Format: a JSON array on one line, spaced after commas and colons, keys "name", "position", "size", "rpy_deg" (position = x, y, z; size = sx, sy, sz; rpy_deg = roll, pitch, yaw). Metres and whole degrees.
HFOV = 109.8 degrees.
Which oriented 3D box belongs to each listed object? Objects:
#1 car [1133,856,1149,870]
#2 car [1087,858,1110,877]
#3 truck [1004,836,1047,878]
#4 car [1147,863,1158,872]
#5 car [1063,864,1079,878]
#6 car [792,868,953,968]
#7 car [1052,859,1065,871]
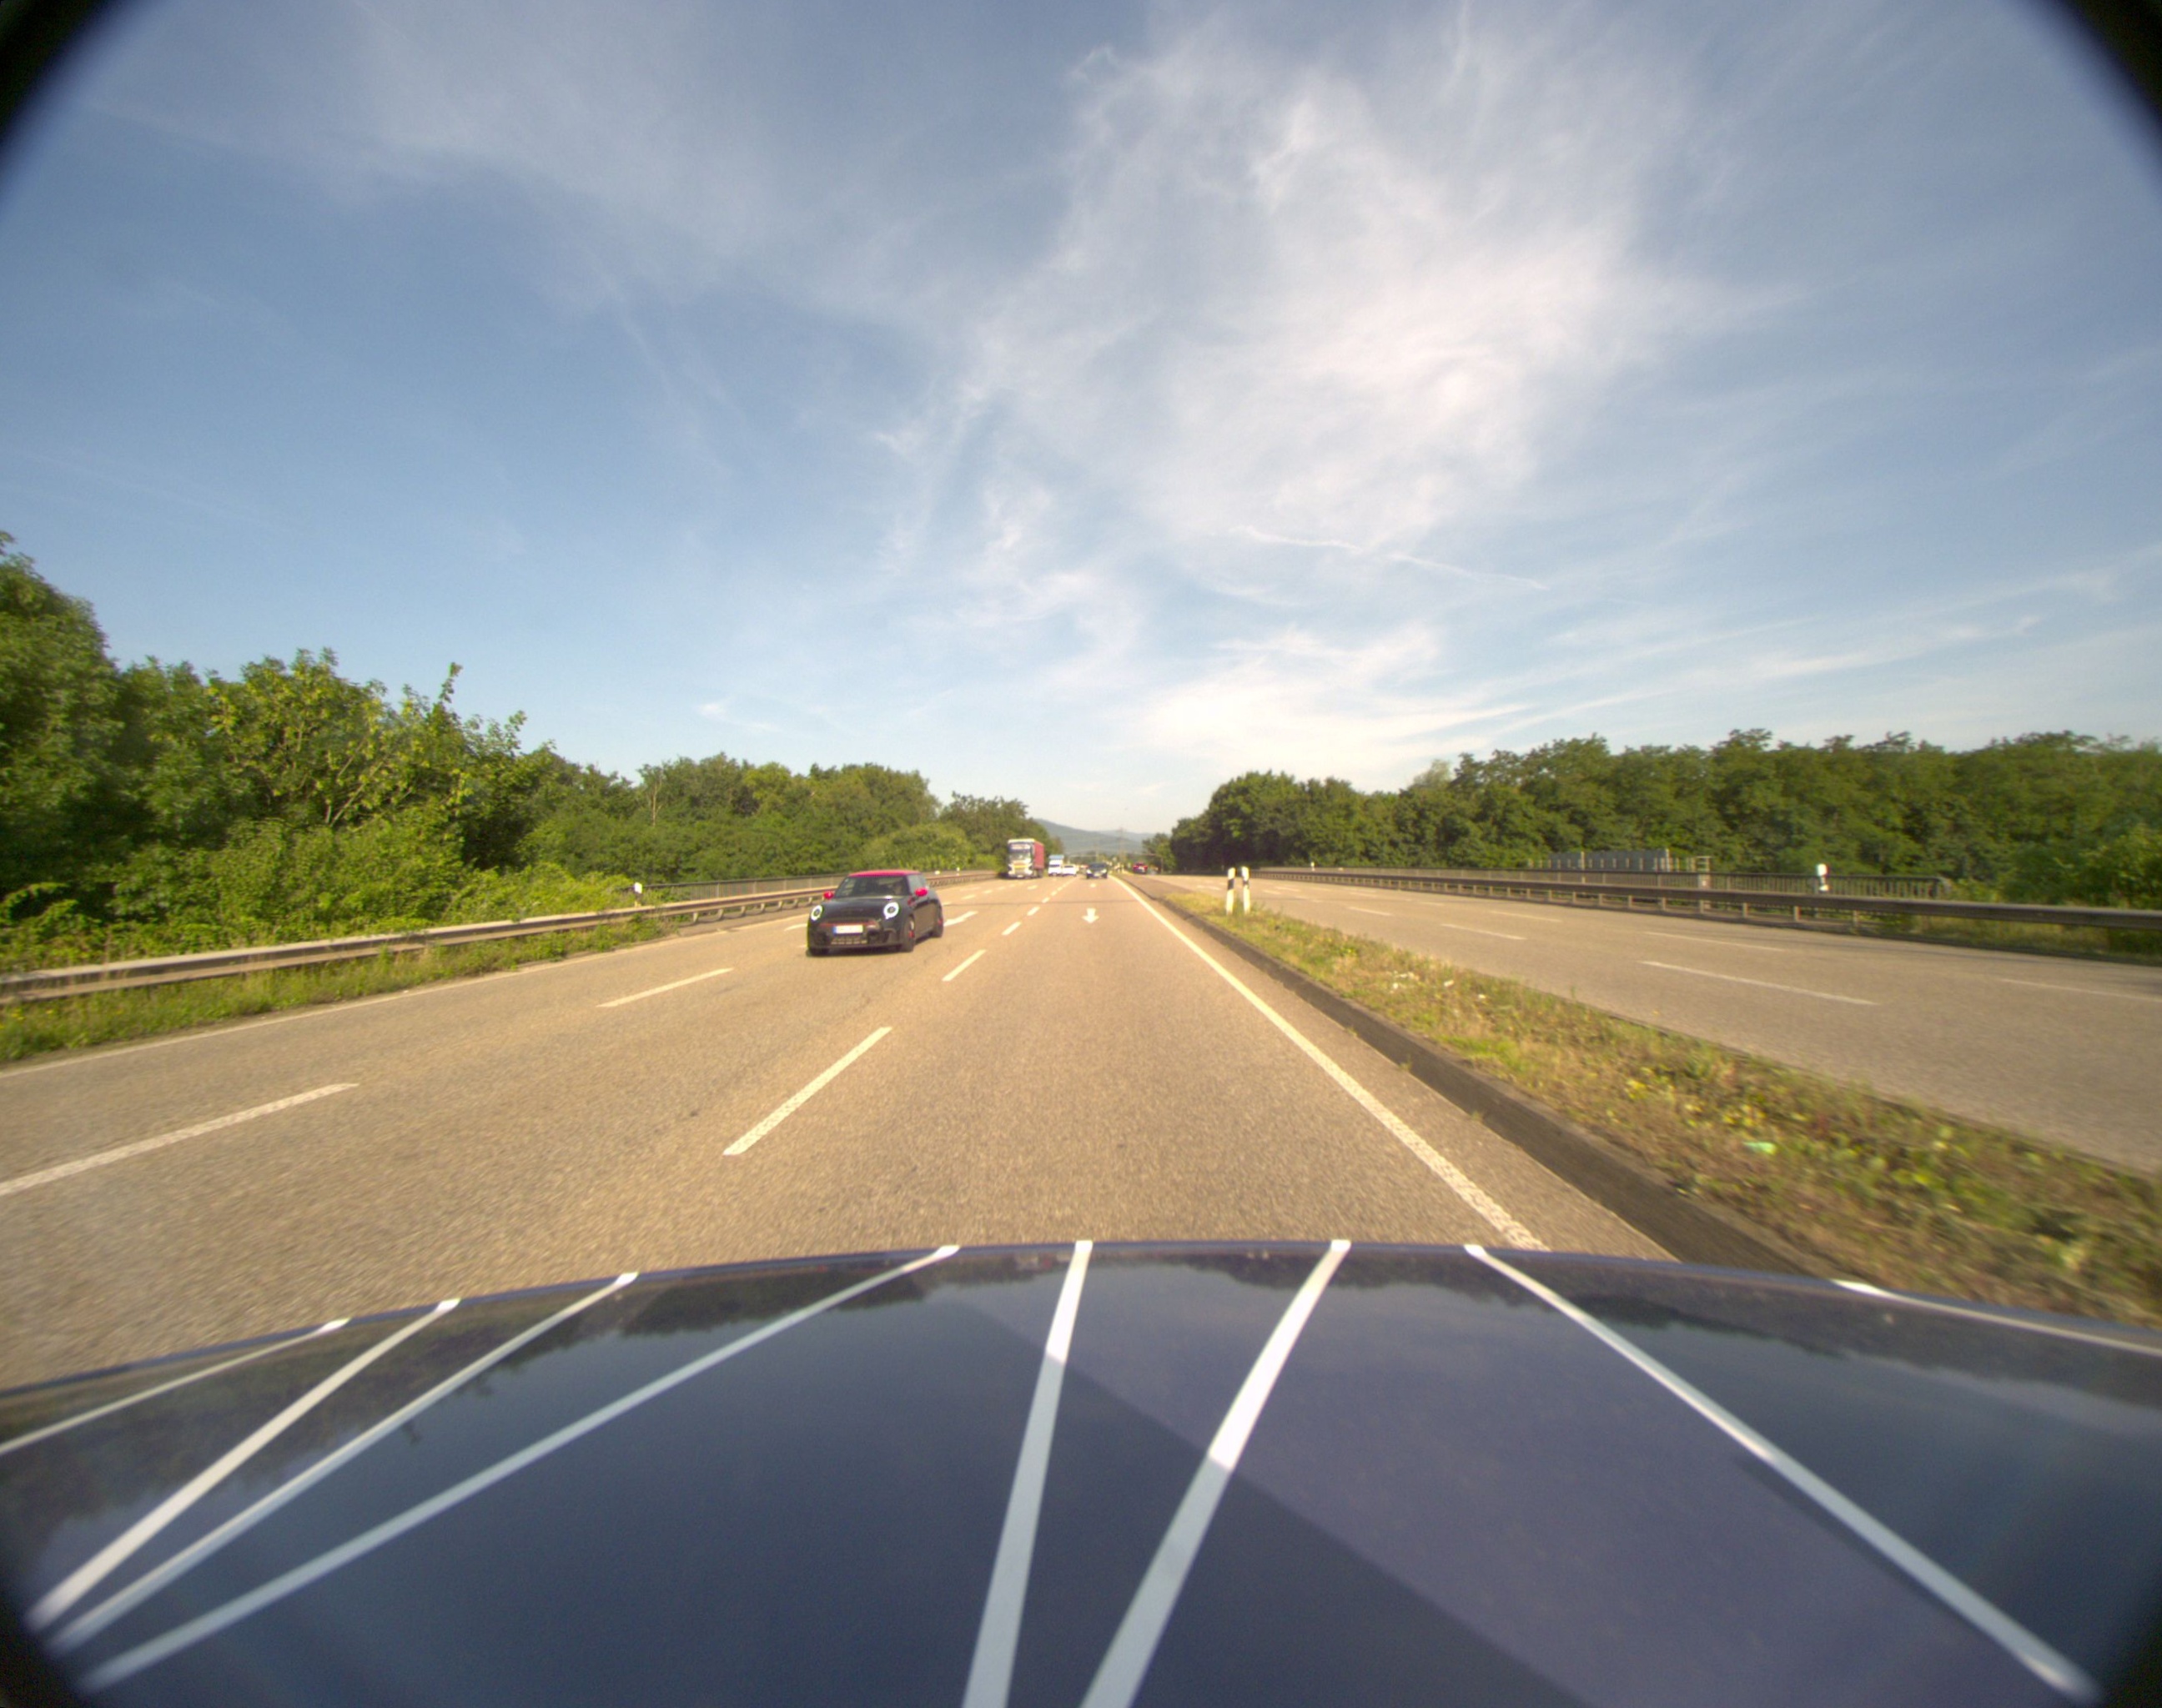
[{"name": "car", "position": [8.519, 1.307, 108.186], "size": [1.998, 1.818, 4.618], "rpy_deg": [-2, 1, 1]}, {"name": "car", "position": [1.514, 1.129, 66.291], "size": [1.861, 1.452, 4.569], "rpy_deg": [-2, 1, 1]}, {"name": "truck", "position": [-5.737, 0.204, 81.301], "size": [3.196, 3.996, 14.562], "rpy_deg": [-2, 1, 1]}, {"name": "car", "position": [16.179, 3.108, 172.337], "size": [1.919, 1.818, 4.419], "rpy_deg": [-2, 1, 1]}, {"name": "car", "position": [-1.256, 2.168, 96.039], "size": [1.875, 1.625, 4.833], "rpy_deg": [0, 1, 0]}, {"name": "car", "position": [-3.724, 1.081, 14.305], "size": [1.824, 1.459, 3.872], "rpy_deg": [-2, 1, 1]}, {"name": "car", "position": [-3.499, 1.706, 119.695], "size": [1.875, 1.625, 4.833], "rpy_deg": [0, 1, 0]}]
